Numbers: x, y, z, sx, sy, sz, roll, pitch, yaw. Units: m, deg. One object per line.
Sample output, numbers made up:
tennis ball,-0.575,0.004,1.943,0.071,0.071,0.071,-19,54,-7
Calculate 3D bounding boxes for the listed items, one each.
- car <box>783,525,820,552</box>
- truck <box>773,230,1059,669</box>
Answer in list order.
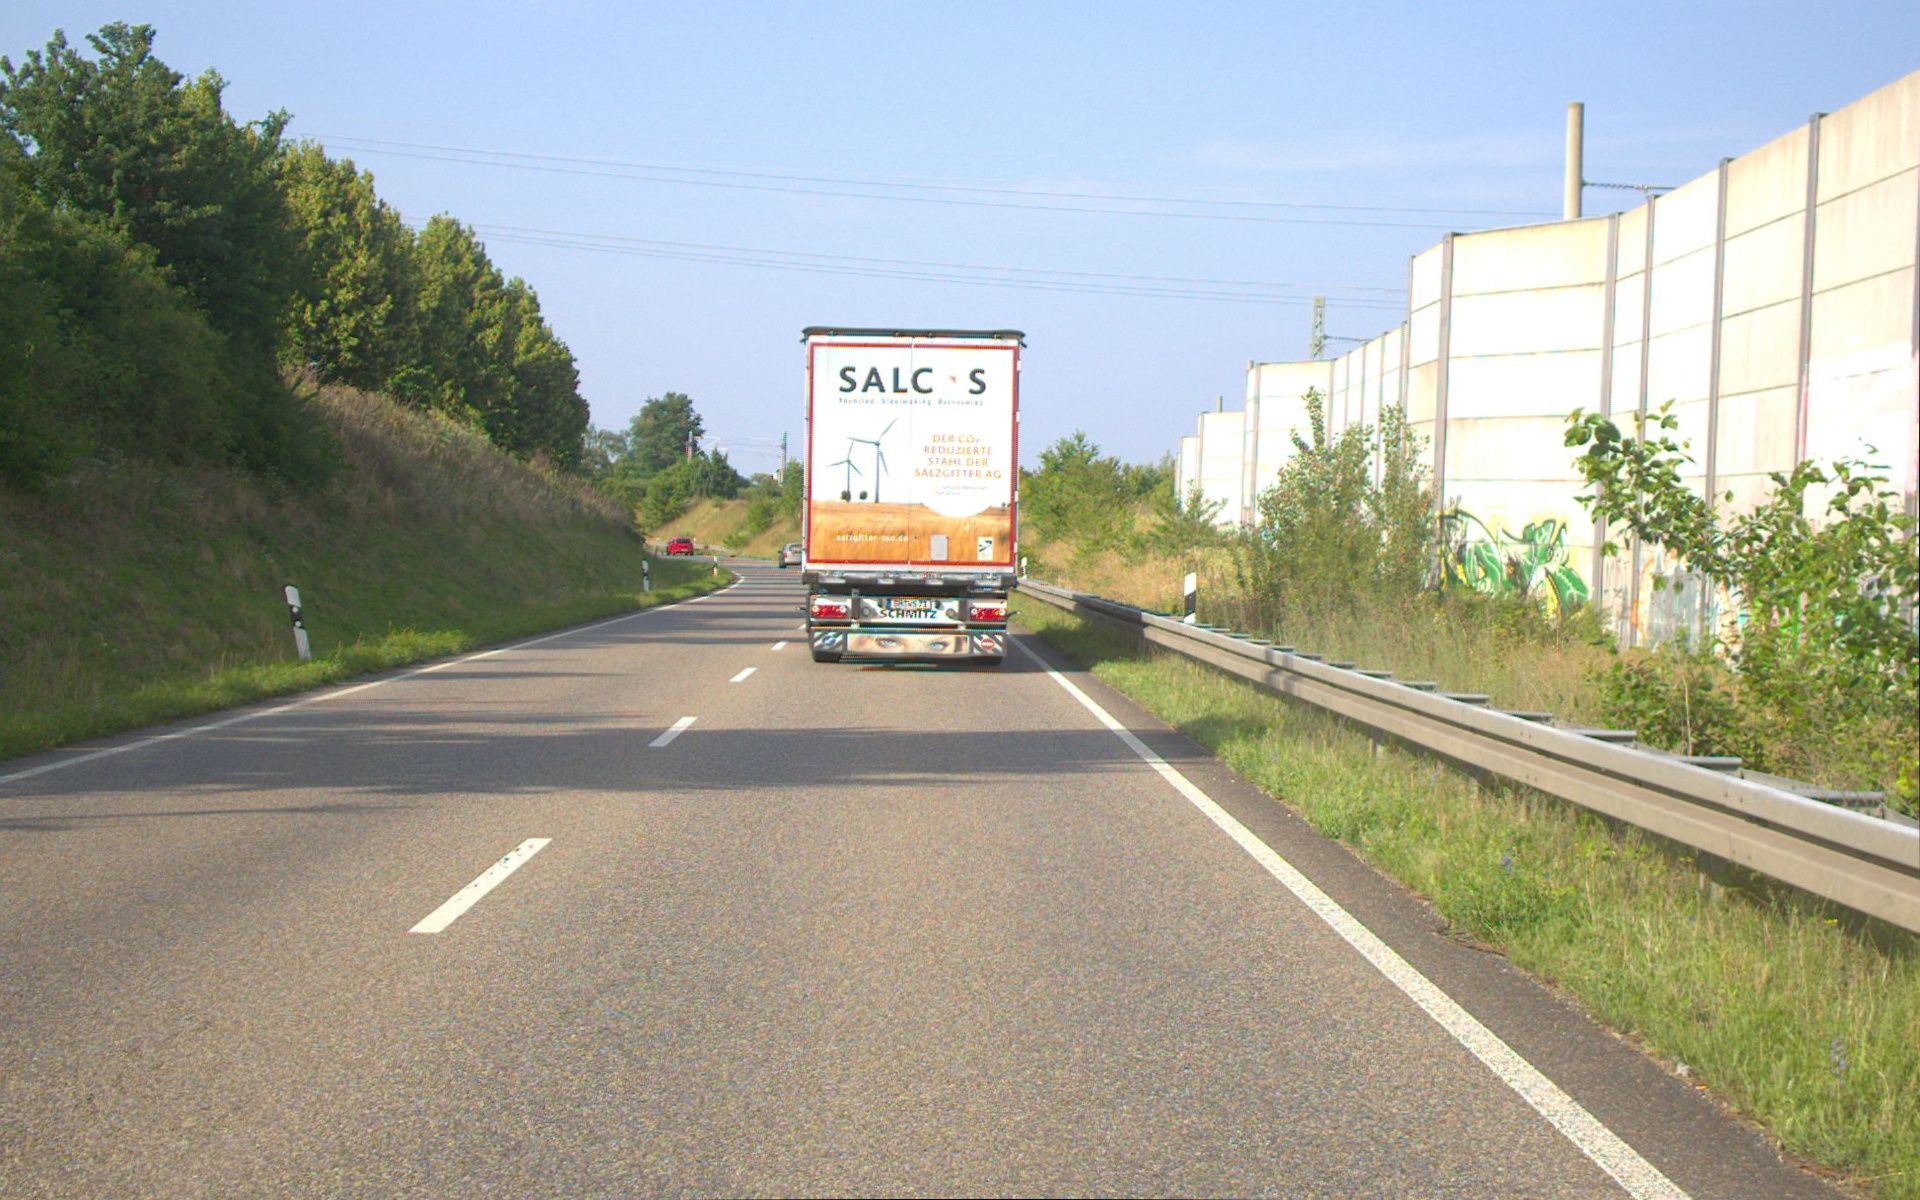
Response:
car,-9.428,-3.658,204.800,2.046,1.576,4.360,1,1,-1
truck,-0.767,-1.927,46.105,3.290,5.072,12.040,0,2,-2
